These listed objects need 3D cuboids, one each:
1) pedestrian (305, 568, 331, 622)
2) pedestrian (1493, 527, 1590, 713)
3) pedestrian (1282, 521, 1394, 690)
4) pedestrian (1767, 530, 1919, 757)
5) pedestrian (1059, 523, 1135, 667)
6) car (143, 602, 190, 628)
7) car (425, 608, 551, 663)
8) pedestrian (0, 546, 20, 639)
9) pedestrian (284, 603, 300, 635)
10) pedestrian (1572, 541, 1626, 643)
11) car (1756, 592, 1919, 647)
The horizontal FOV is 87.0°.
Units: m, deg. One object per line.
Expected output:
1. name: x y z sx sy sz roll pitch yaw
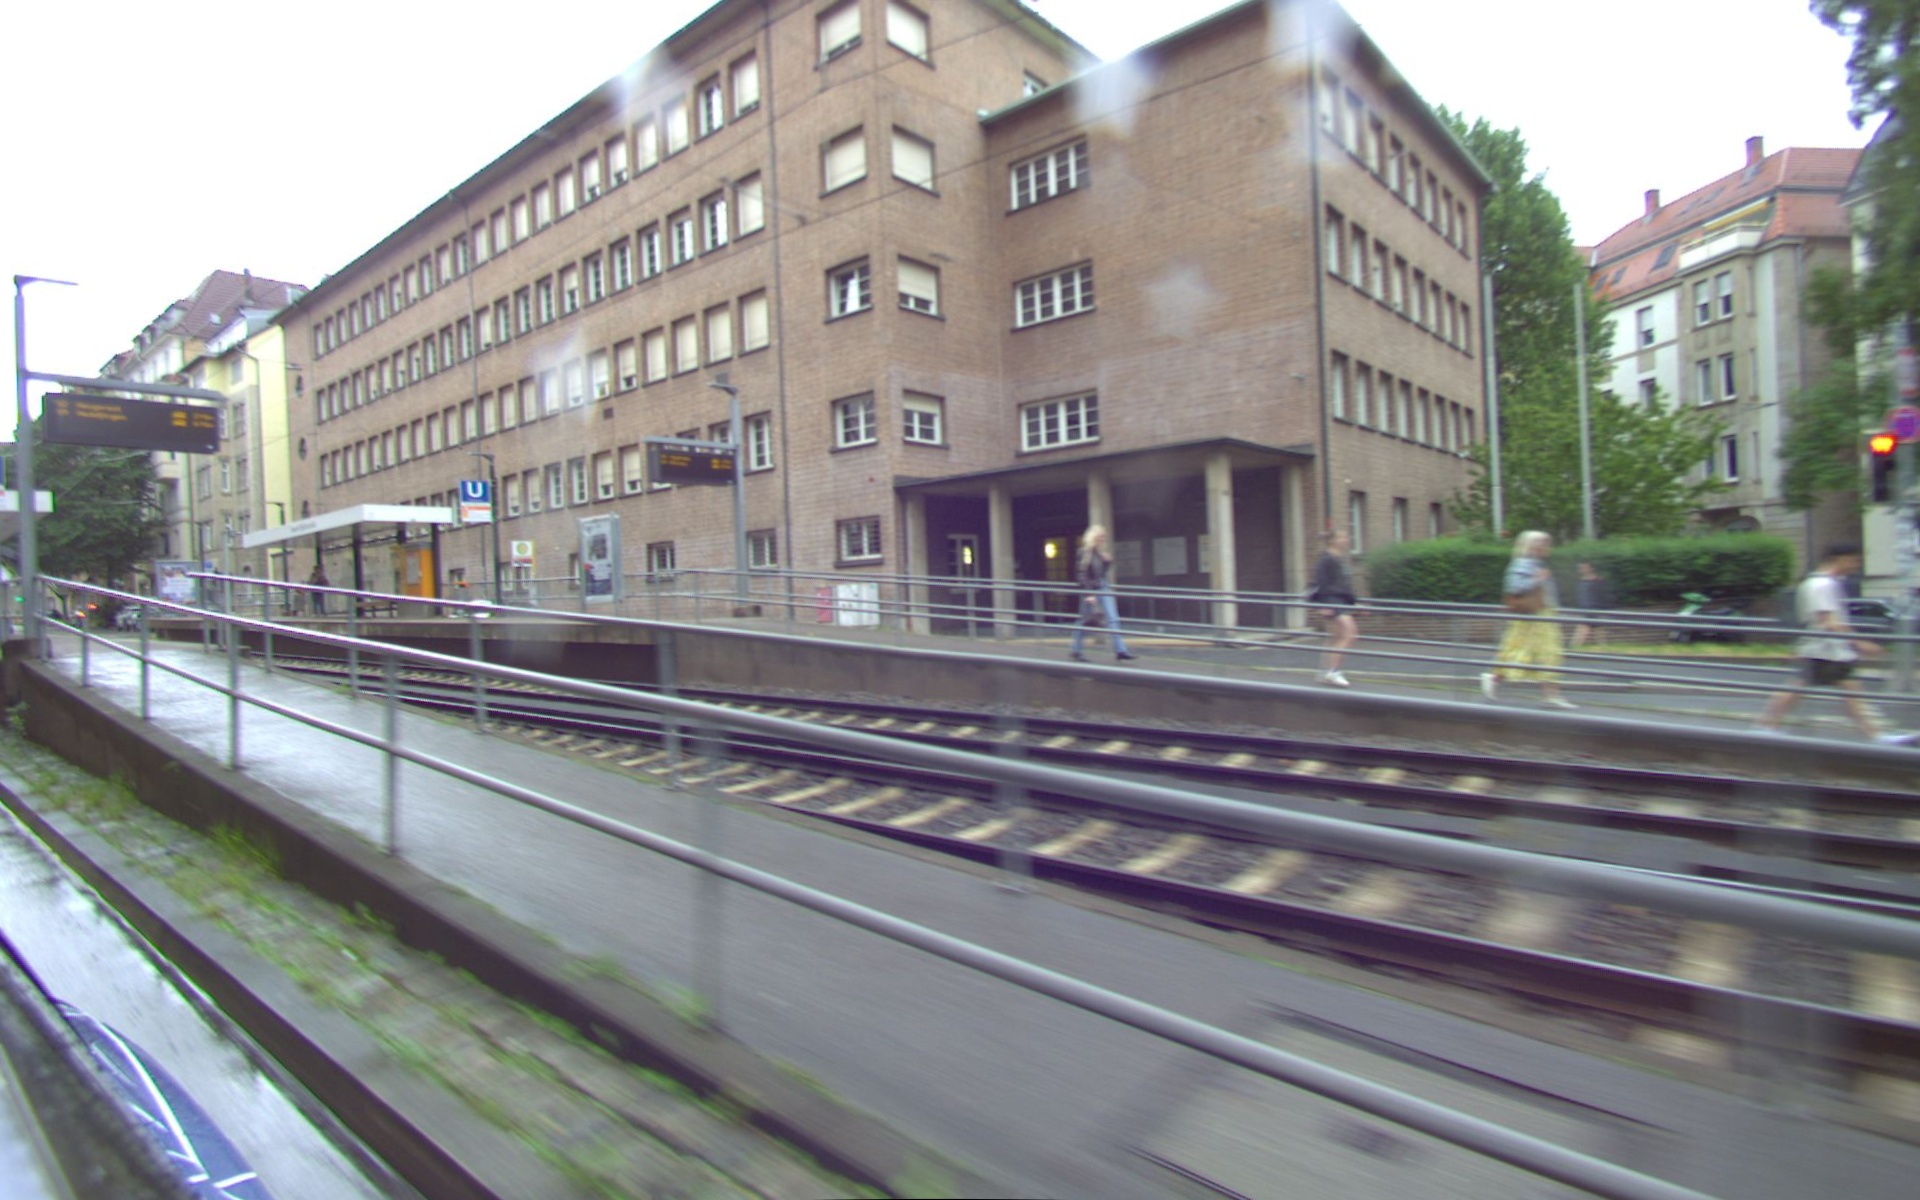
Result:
1. pedestrian: -20.719 -0.147 32.644 0.491 1.722 0.581 -1 -1 40
2. pedestrian: 5.454 0.161 9.485 0.640 1.659 0.736 2 3 41
3. pedestrian: 4.046 0.030 10.838 0.882 1.708 0.736 3 3 40
4. pedestrian: 6.694 0.285 7.593 0.956 1.594 0.686 1 3 41
5. pedestrian: 1.689 -0.088 12.423 0.688 1.711 0.658 2 4 38
6. car: -46.221 0.866 58.937 3.111 1.477 1.627 -1 1 43
7. car: -14.182 1.028 30.287 4.761 1.508 1.626 -1 0 41
8. pedestrian: -18.982 -0.127 19.515 1.111 1.788 1.102 -1 1 41
9. pedestrian: -35.405 0.991 53.616 0.542 1.666 0.543 -1 0 42
10. pedestrian: 10.830 -0.120 17.156 0.688 1.688 0.598 -1 -1 38
11. car: 25.014 0.523 28.480 1.715 1.413 4.007 0 0 -8
